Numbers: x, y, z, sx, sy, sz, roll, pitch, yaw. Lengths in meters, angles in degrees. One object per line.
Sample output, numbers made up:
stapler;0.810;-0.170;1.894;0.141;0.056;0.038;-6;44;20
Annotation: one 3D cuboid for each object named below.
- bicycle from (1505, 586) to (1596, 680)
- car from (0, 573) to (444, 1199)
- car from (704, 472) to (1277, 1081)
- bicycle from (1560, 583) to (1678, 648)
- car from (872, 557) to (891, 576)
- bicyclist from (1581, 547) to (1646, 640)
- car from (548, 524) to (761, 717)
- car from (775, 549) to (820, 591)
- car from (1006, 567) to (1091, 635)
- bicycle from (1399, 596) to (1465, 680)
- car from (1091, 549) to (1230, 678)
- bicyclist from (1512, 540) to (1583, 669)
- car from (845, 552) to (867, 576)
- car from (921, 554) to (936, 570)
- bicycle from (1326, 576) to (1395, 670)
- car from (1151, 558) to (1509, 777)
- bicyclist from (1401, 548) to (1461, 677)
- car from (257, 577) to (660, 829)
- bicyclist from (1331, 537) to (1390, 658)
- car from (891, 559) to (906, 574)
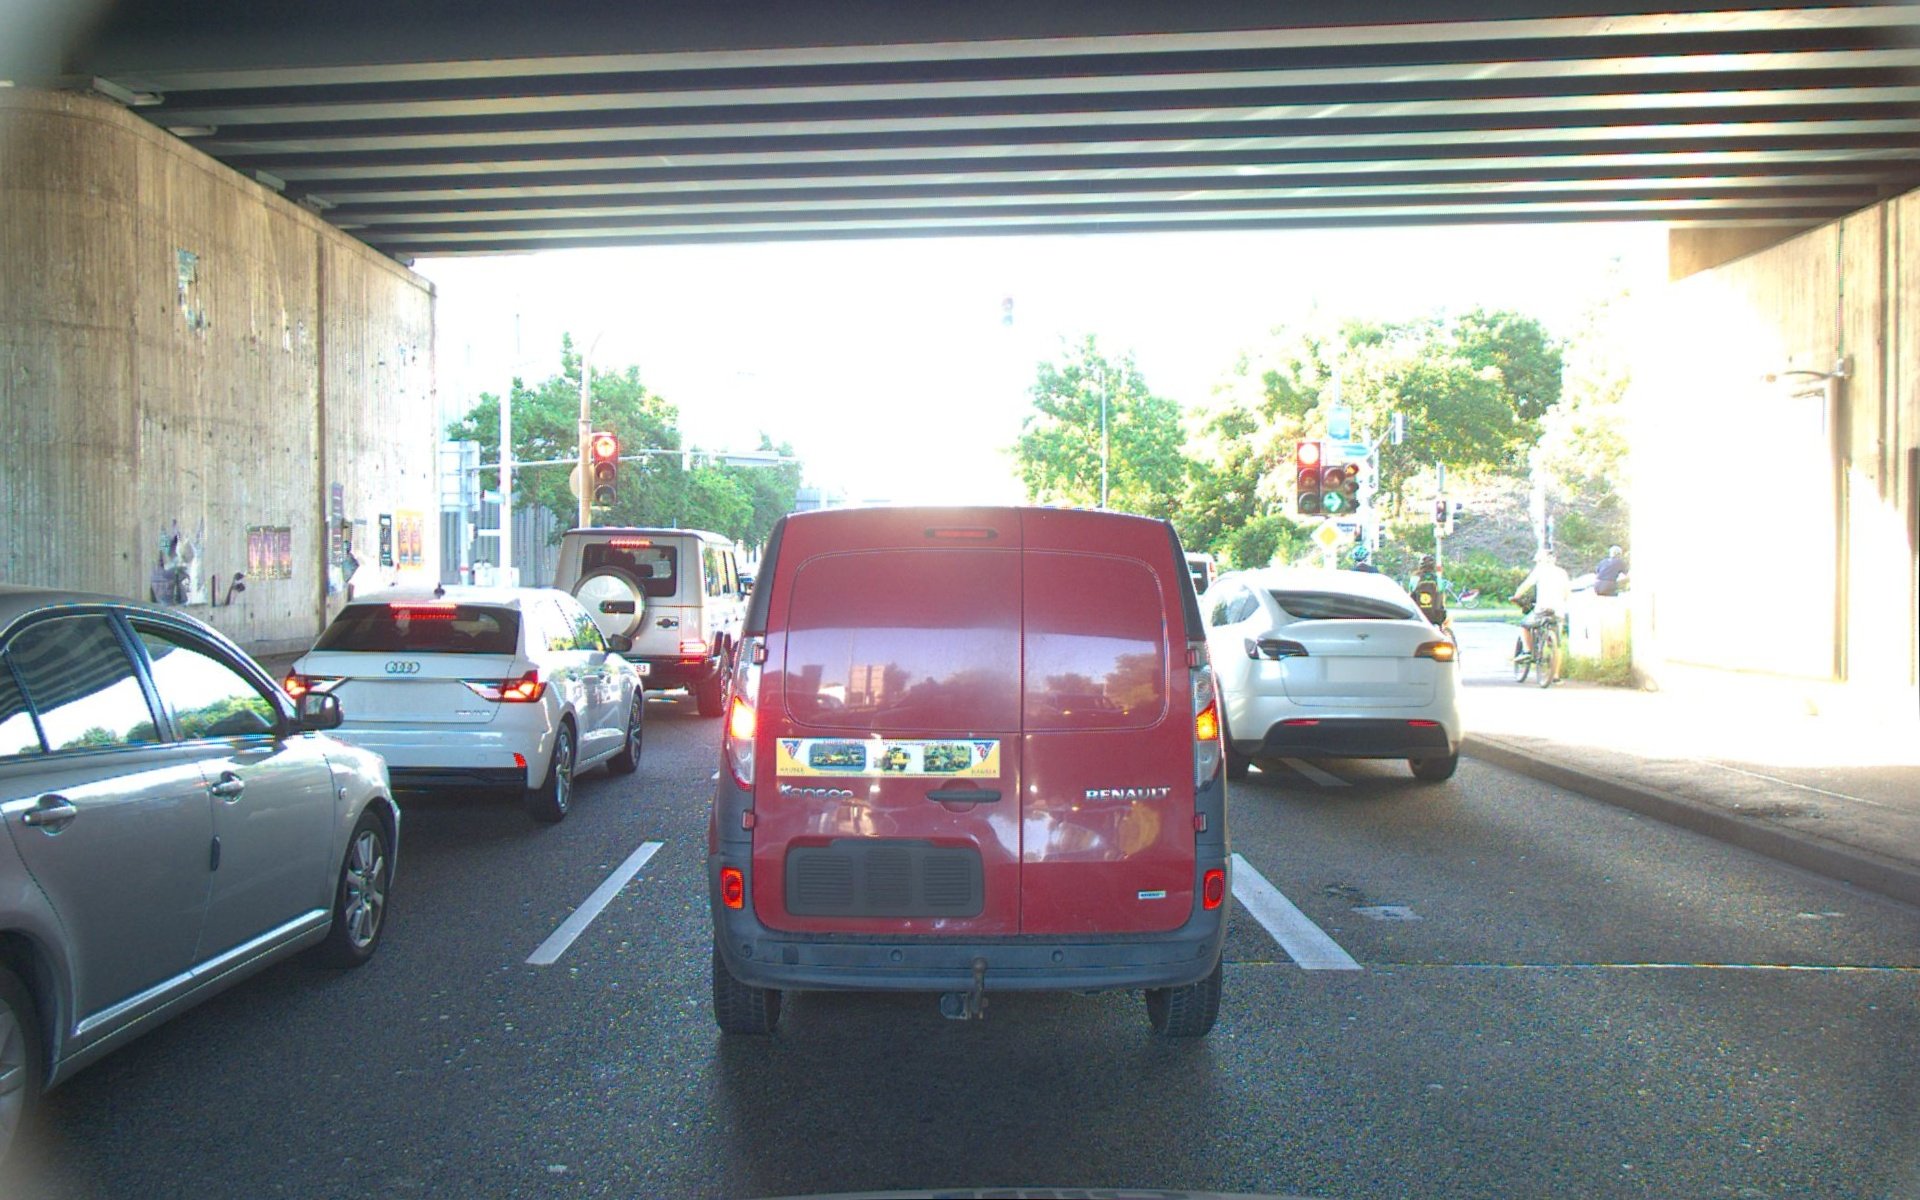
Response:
bicycle;7.368;0.396;20.703;0.666;1.132;1.605;0;0;4
car;-3.001;0.657;4.867;1.662;1.480;4.397;1;0;-2
car;0.065;0.518;6.935;1.684;1.795;3.999;1;0;-1
bicycle;12.193;0.286;30.581;2.437;1.166;0.759;0;0;-32
car;-8.887;-3.783;188.284;1.953;2.049;3.999;1;0;-1
bicyclist;12.053;-0.109;30.498;0.875;1.684;0.741;0;0;-32
car;-3.343;0.200;18.775;1.777;1.937;3.812;1;0;-2
car;-8.281;-1.499;84.515;1.953;2.049;3.999;1;0;-1
car;2.010;0.017;38.523;1.710;1.481;3.716;1;0;-1
bicycle;6.184;0.484;21.727;0.662;1.042;1.530;1;0;10
car;3.139;0.171;26.729;1.858;1.868;4.837;1;1;3
bicyclist;7.370;0.059;20.769;0.656;1.589;0.735;0;0;4
car;-9.323;-3.237;148.465;1.712;2.049;3.843;1;0;-1
car;-4.191;-5.052;220.653;1.953;2.049;3.999;1;0;-1
bicycle;5.323;0.292;21.937;0.637;1.188;1.778;0;0;22
car;2.947;0.520;14.227;1.953;1.578;4.419;0;-1;-2
bicyclist;6.190;0.159;21.744;0.663;1.657;0.644;1;0;10
car;-3.238;0.584;11.453;1.658;1.435;3.812;1;0;-1
bicyclist;5.306;-0.031;21.914;0.639;1.561;0.847;0;0;22
car;-8.713;-4.716;234.690;1.890;2.049;3.913;1;0;-1
